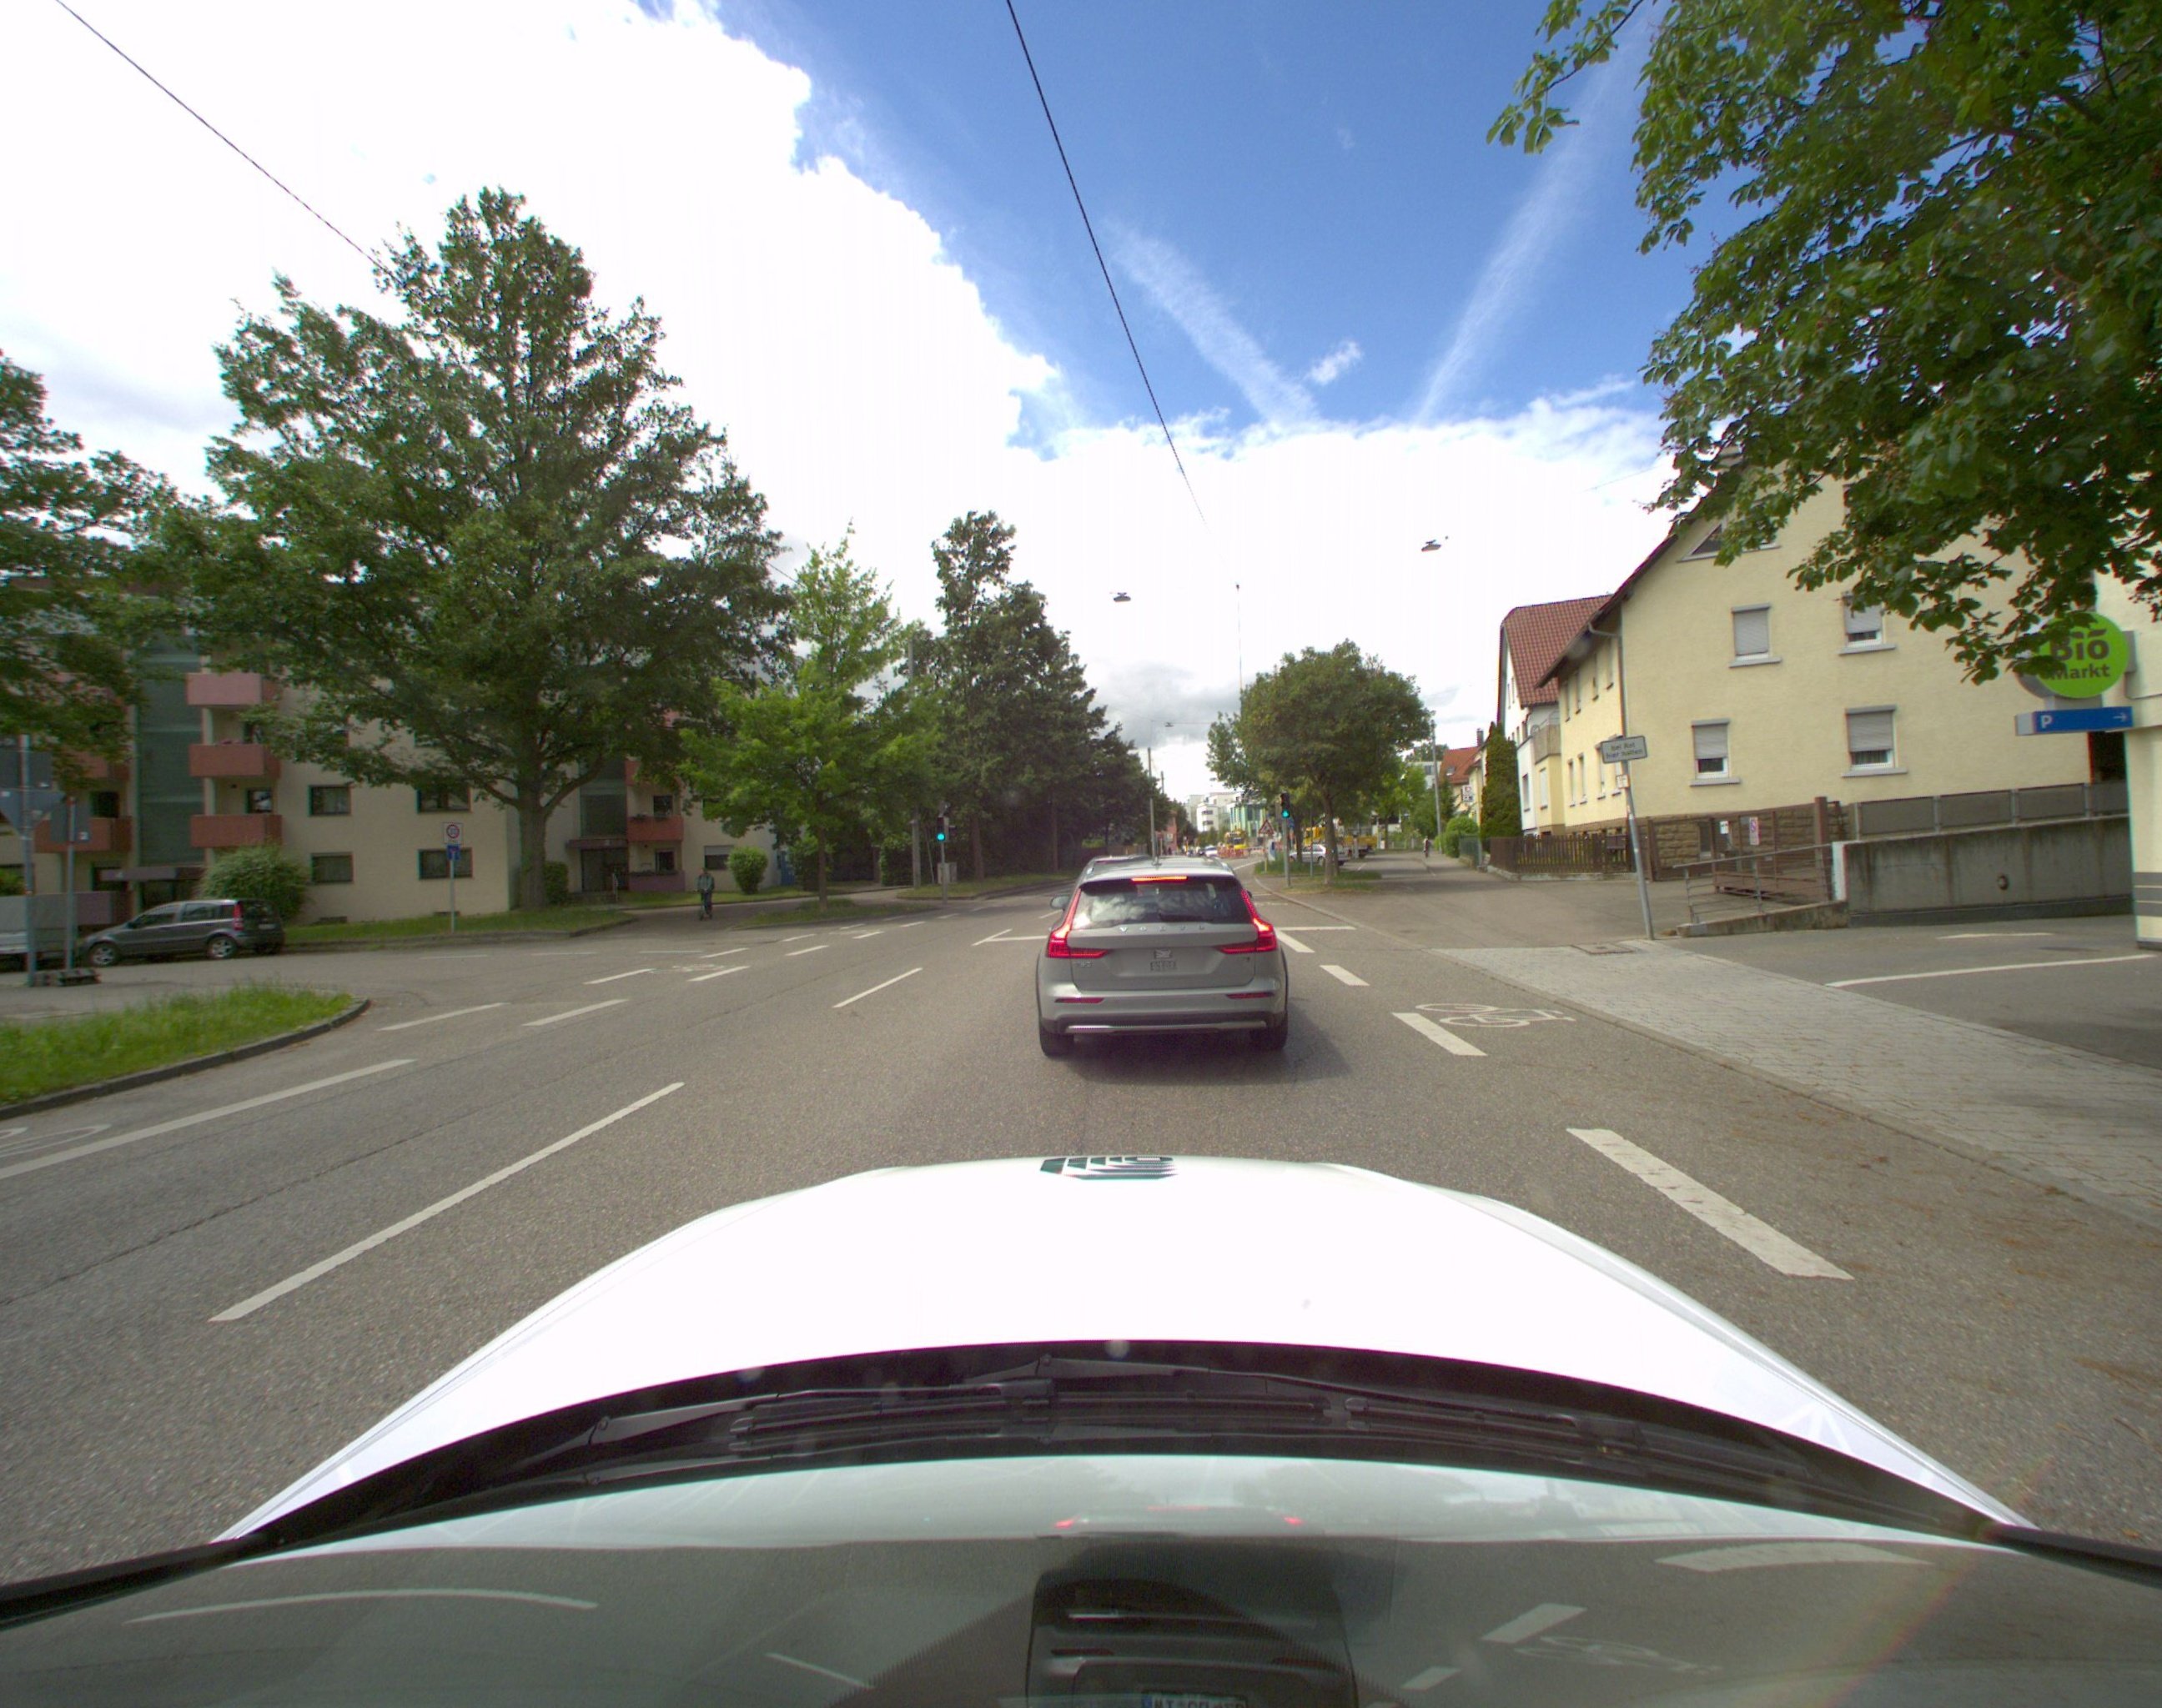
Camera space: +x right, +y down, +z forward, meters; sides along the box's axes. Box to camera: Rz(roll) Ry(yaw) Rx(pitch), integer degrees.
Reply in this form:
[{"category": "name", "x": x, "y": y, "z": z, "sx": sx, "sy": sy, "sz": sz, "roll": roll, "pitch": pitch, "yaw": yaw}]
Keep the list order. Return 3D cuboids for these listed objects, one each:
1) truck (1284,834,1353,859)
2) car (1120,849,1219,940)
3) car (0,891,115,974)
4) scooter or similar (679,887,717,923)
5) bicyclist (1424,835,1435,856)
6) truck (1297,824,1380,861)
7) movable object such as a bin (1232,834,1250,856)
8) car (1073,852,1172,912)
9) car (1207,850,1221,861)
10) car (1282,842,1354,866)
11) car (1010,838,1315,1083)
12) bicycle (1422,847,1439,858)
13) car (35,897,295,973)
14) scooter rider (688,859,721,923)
[{"category": "truck", "x": 19.927, "y": -0.594, "z": 68.646, "sx": 2.007, "sy": 2.014, "sz": 5.619, "roll": 0, "pitch": -1, "yaw": -33}, {"category": "car", "x": 1.632, "y": 0.693, "z": 15.474, "sx": 1.653, "sy": 1.508, "sz": 3.707, "roll": 0, "pitch": -1, "yaw": 5}, {"category": "car", "x": -27.055, "y": 2.035, "z": 19.941, "sx": 3.990, "sy": 1.844, "sz": 1.838, "roll": -5, "pitch": 0, "yaw": -12}, {"category": "scooter or similar", "x": -12.189, "y": 1.610, "z": 25.938, "sx": 0.754, "sy": 1.083, "sz": 0.945, "roll": 0, "pitch": -1, "yaw": 1}, {"category": "bicyclist", "x": 26.292, "y": -0.618, "z": 61.460, "sx": 0.587, "sy": 1.559, "sz": 0.567, "roll": 0, "pitch": -1, "yaw": 1}, {"category": "truck", "x": 22.155, "y": -0.922, "z": 70.330, "sx": 2.780, "sy": 3.008, "sz": 6.639, "roll": 0, "pitch": -1, "yaw": -32}, {"category": "movable object such as a bin", "x": 21.414, "y": -1.204, "z": 108.860, "sx": 2.020, "sy": 2.642, "sz": 5.962, "roll": -3, "pitch": 0, "yaw": 13}, {"category": "car", "x": 1.273, "y": 0.736, "z": 22.838, "sx": 2.088, "sy": 1.510, "sz": 4.014, "roll": -1, "pitch": -1, "yaw": 13}, {"category": "car", "x": 18.973, "y": 0.217, "z": 116.307, "sx": 1.816, "sy": 1.330, "sz": 4.012, "roll": 0, "pitch": -2, "yaw": 11}, {"category": "car", "x": 15.623, "y": 0.025, "z": 54.024, "sx": 1.773, "sy": 1.451, "sz": 4.644, "roll": -2, "pitch": 0, "yaw": -30}, {"category": "car", "x": 0.676, "y": 0.698, "z": 7.285, "sx": 1.919, "sy": 1.540, "sz": 4.005, "roll": -2, "pitch": 0, "yaw": 4}, {"category": "bicycle", "x": 26.287, "y": -0.119, "z": 61.322, "sx": 0.592, "sy": 0.812, "sz": 1.754, "roll": 0, "pitch": 0, "yaw": 1}, {"category": "car", "x": -22.776, "y": 1.974, "z": 20.444, "sx": 3.995, "sy": 1.452, "sz": 1.687, "roll": -3, "pitch": 0, "yaw": -16}, {"category": "scooter rider", "x": -12.016, "y": 1.168, "z": 25.996, "sx": 0.674, "sy": 2.014, "sz": 0.794, "roll": 0, "pitch": -1, "yaw": 1}]
